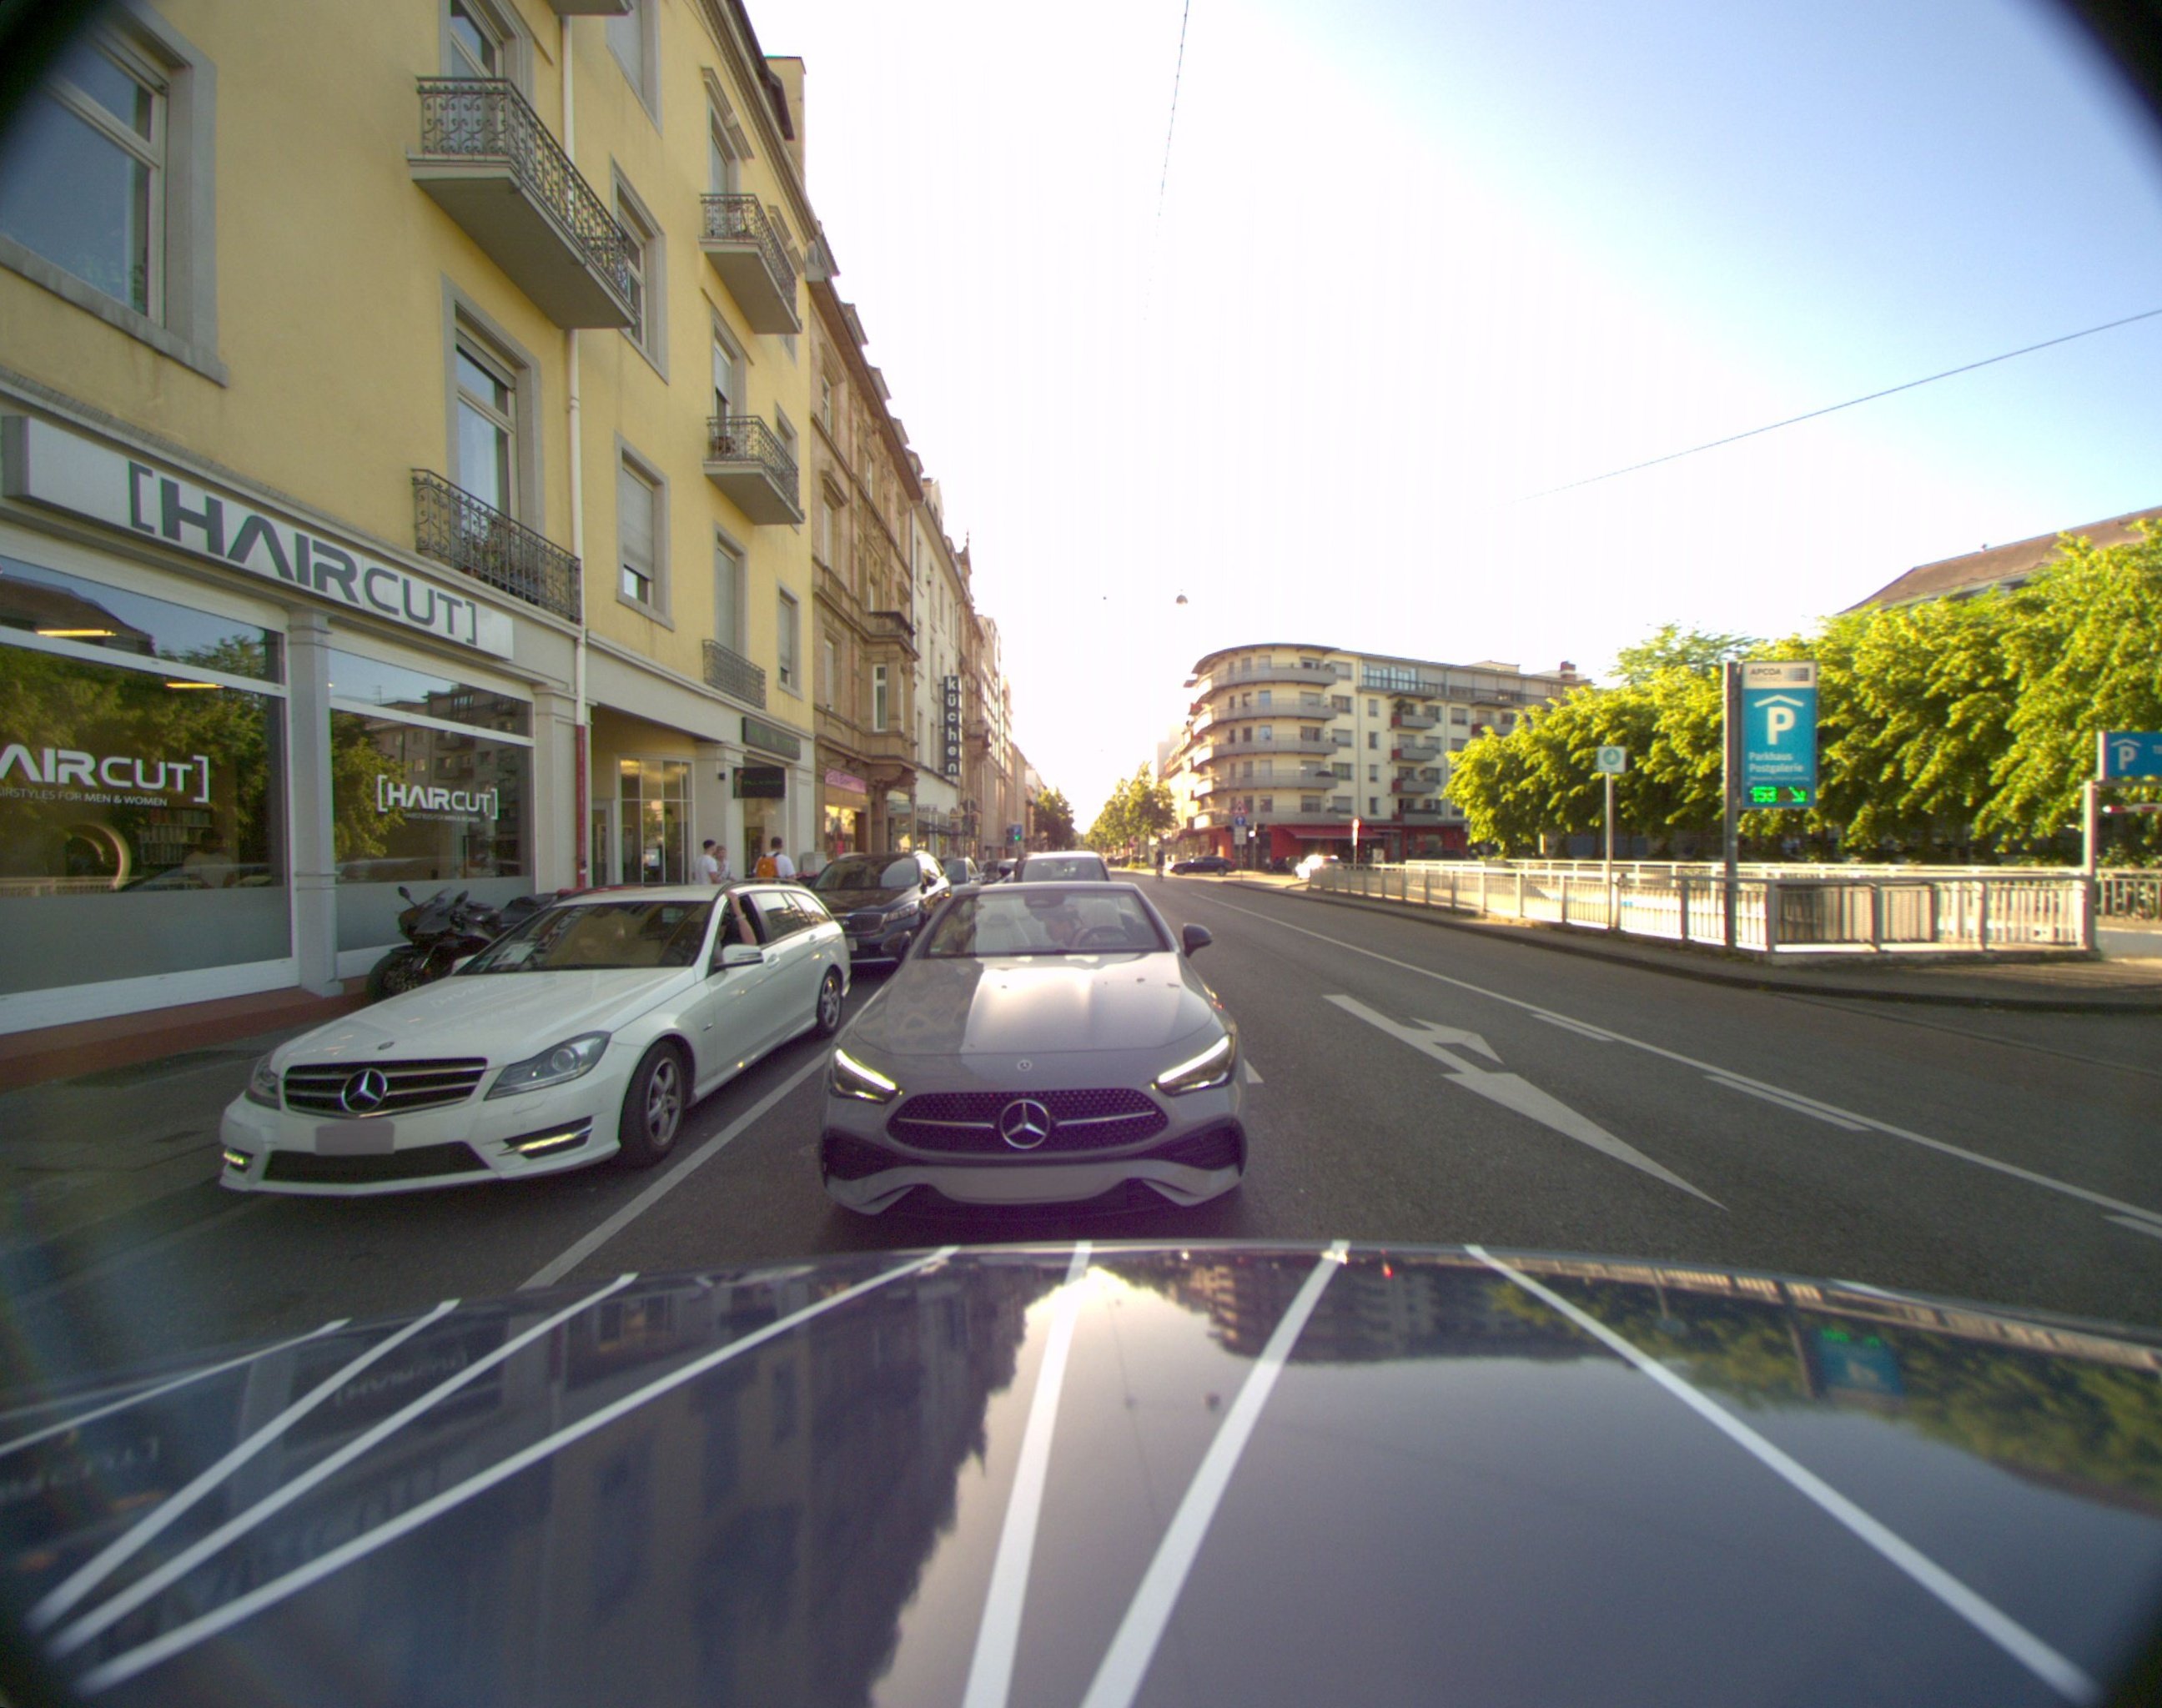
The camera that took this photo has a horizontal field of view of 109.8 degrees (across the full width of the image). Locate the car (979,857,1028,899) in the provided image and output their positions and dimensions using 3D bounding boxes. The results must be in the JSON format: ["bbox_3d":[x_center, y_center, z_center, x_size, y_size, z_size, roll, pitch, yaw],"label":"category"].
[{"bbox_3d":[-3.020,0.898,30.327,1.695,1.482,3.796,-2,1,-3],"label":"car"}]

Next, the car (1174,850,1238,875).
[{"bbox_3d":[8.644,0.568,52.474,4.242,1.521,1.678,-2,1,14],"label":"car"}]

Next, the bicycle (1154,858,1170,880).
[{"bbox_3d":[4.527,0.816,42.561,0.618,1.156,1.957,1,1,0],"label":"bicycle"}]

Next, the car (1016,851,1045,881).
[{"bbox_3d":[-3.146,0.711,47.562,1.695,1.670,3.880,-2,1,-3],"label":"car"}]

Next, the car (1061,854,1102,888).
[{"bbox_3d":[-0.003,0.758,35.862,1.695,1.437,3.575,-2,1,-3],"label":"car"}]

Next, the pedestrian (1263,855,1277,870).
[{"bbox_3d":[14.929,0.660,60.054,0.780,1.191,0.884,-2,1,-10],"label":"pedestrian"}]

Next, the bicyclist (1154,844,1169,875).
[{"bbox_3d":[4.528,0.307,42.692,0.703,1.700,0.810,0,1,-2],"label":"bicyclist"}]

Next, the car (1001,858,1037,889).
[{"bbox_3d":[-2.948,0.895,36.696,1.461,1.310,3.362,-2,1,-1],"label":"car"}]

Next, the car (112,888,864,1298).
[{"bbox_3d":[-3.020,1.070,5.262,1.672,1.364,4.377,-2,1,1],"label":"car"}]

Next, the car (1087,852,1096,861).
[{"bbox_3d":[2.351,0.500,169.229,1.836,1.831,3.886,1,1,-2],"label":"car"}]

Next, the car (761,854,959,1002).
[{"bbox_3d":[-3.007,0.887,11.353,1.806,1.680,4.408,-2,1,-3],"label":"car"}]

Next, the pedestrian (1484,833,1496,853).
[{"bbox_3d":[38.372,-1.006,71.296,0.747,1.832,0.684,-2,1,1],"label":"pedestrian"}]

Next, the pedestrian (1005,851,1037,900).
[{"bbox_3d":[-2.192,0.771,27.726,0.836,1.709,0.821,-2,1,19],"label":"pedestrian"}]

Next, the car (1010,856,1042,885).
[{"bbox_3d":[-2.935,0.861,40.965,1.461,1.391,3.362,-2,1,-1],"label":"car"}]

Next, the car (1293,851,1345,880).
[{"bbox_3d":[13.465,0.607,43.243,1.638,1.521,3.907,-2,1,-1],"label":"car"}]

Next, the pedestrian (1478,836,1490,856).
[{"bbox_3d":[36.747,-0.741,69.268,0.685,1.832,0.745,-3,2,-42],"label":"pedestrian"}]

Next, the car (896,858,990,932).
[{"bbox_3d":[-3.175,0.902,18.004,1.583,1.514,2.998,-2,1,1],"label":"car"}]

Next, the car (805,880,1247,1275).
[{"bbox_3d":[-0.275,0.995,5.373,1.769,1.360,4.471,-2,1,-2],"label":"car"}]

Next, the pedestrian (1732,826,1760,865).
[{"bbox_3d":[32.196,-0.393,36.783,0.748,1.852,0.683,-2,1,-13],"label":"pedestrian"}]

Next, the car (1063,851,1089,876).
[{"bbox_3d":[-0.361,0.615,53.710,1.695,1.635,3.599,-2,1,-1],"label":"car"}]

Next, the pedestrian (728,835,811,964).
[{"bbox_3d":[-4.600,0.644,11.306,0.811,1.812,0.982,-2,2,-5],"label":"pedestrian"}]

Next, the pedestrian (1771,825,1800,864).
[{"bbox_3d":[33.788,-0.440,36.433,0.748,1.832,0.683,-2,1,-13],"label":"pedestrian"}]

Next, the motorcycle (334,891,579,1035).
[{"bbox_3d":[-6.249,1.020,7.804,0.735,1.124,2.109,2,1,1],"label":"motorcycle"}]

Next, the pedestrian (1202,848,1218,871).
[{"bbox_3d":[10.569,0.450,62.321,0.992,1.908,0.789,-3,1,-31],"label":"pedestrian"}]

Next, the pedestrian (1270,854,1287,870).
[{"bbox_3d":[15.436,0.648,59.395,0.937,1.191,0.832,-3,1,-24],"label":"pedestrian"}]

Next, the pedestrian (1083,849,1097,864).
[{"bbox_3d":[1.120,0.318,96.576,1.219,1.826,1.205,-2,1,33],"label":"pedestrian"}]

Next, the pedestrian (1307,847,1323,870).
[{"bbox_3d":[17.654,0.333,57.340,0.960,1.739,1.063,-2,1,26],"label":"pedestrian"}]

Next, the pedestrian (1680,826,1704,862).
[{"bbox_3d":[31.743,-0.507,39.482,0.748,1.832,0.683,-3,1,-21],"label":"pedestrian"}]

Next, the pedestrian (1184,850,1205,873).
[{"bbox_3d":[8.914,0.589,59.626,1.083,1.709,1.066,-3,1,-42],"label":"pedestrian"}]

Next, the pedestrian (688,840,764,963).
[{"bbox_3d":[-5.654,0.726,12.098,0.975,1.866,0.534,-3,1,-31],"label":"pedestrian"}]

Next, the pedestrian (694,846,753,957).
[{"bbox_3d":[-6.142,0.791,13.075,0.630,1.826,0.770,-2,1,-7],"label":"pedestrian"}]

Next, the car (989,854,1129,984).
[{"bbox_3d":[-0.359,0.891,12.773,1.866,1.658,4.706,-2,1,-2],"label":"car"}]
